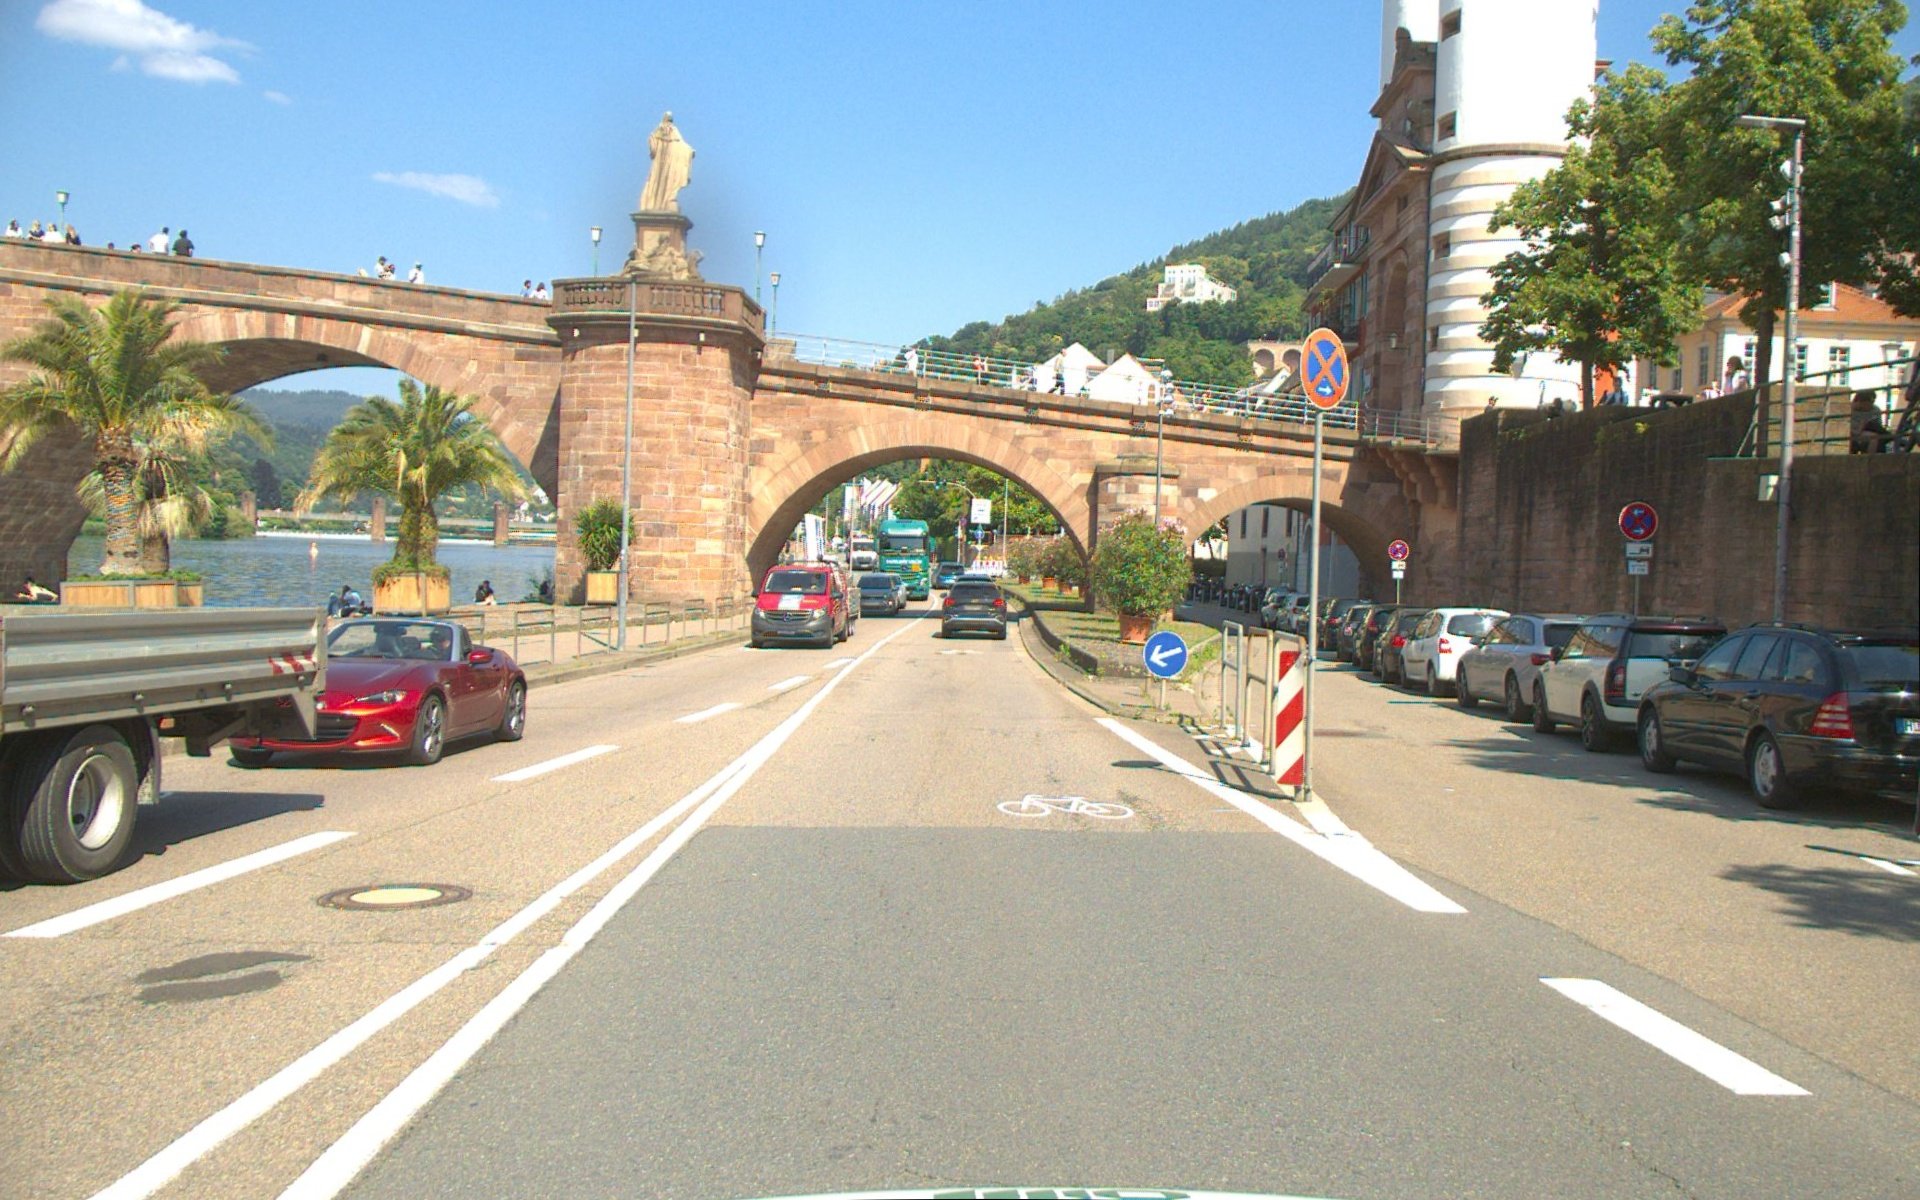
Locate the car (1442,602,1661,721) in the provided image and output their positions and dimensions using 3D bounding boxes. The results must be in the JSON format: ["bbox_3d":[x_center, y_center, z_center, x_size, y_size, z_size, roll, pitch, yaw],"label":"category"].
[{"bbox_3d":[8.457,0.806,24.082,1.717,1.457,4.759,2,1,4],"label":"car"}]

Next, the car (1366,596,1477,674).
[{"bbox_3d":[9.125,0.646,32.999,1.674,1.412,4.411,0,0,10],"label":"car"}]

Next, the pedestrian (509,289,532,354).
[{"bbox_3d":[-14.692,-9.313,55.276,0.611,2.049,0.694,1,1,-6],"label":"pedestrian"}]

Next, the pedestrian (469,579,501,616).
[{"bbox_3d":[-16.674,-0.081,58.091,0.711,1.262,1.146,1,1,5],"label":"pedestrian"}]

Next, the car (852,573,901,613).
[{"bbox_3d":[-3.099,-0.286,61.879,1.503,1.461,3.729,0,1,2],"label":"car"}]

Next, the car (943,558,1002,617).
[{"bbox_3d":[0.486,-0.467,59.795,1.952,2.049,4.002,1,1,3],"label":"car"}]

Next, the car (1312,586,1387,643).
[{"bbox_3d":[11.445,0.385,48.803,1.738,1.528,3.990,1,1,7],"label":"car"}]

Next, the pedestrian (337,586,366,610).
[{"bbox_3d":[-15.141,-0.045,41.166,0.453,0.574,0.515,-2,0,11],"label":"pedestrian"}]

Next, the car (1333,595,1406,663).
[{"bbox_3d":[10.466,0.702,42.462,1.557,1.547,3.907,2,1,11],"label":"car"}]

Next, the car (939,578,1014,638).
[{"bbox_3d":[0.492,0.178,45.440,1.818,1.550,4.002,1,1,4],"label":"car"}]

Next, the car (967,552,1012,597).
[{"bbox_3d":[1.340,-1.192,77.628,1.953,2.049,4.000,1,1,-1],"label":"car"}]

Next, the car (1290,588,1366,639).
[{"bbox_3d":[11.962,0.408,54.012,1.738,1.461,4.495,1,1,4],"label":"car"}]

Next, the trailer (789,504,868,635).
[{"bbox_3d":[-3.521,-0.826,44.711,1.705,3.378,3.385,0,1,3],"label":"trailer"}]

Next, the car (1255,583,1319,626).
[{"bbox_3d":[12.561,0.148,63.746,1.853,1.518,4.419,1,2,4],"label":"car"}]

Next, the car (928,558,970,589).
[{"bbox_3d":[-0.670,-1.521,95.994,1.956,1.691,3.994,2,1,-7],"label":"car"}]

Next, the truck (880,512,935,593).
[{"bbox_3d":[-2.497,-2.356,80.656,2.472,3.813,6.247,0,2,0],"label":"truck"}]

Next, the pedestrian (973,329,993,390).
[{"bbox_3d":[0.794,-8.385,57.732,0.670,2.049,0.586,1,1,1],"label":"pedestrian"}]

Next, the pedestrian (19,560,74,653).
[{"bbox_3d":[-16.399,0.114,29.705,0.665,1.629,0.594,1,1,-7],"label":"pedestrian"}]

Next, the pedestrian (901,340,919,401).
[{"bbox_3d":[-1.750,-8.007,57.670,0.569,2.049,0.586,1,1,1],"label":"pedestrian"}]

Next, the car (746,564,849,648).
[{"bbox_3d":[-3.793,0.090,39.391,1.835,1.859,4.546,0,1,2],"label":"car"}]

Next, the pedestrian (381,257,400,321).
[{"bbox_3d":[-19.173,-10.456,55.708,0.449,2.049,0.554,1,1,-6],"label":"pedestrian"}]

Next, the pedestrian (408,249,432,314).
[{"bbox_3d":[-18.086,-10.653,55.376,0.611,2.049,0.694,1,1,-6],"label":"pedestrian"}]

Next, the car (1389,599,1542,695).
[{"bbox_3d":[8.736,0.773,28.858,1.675,1.483,3.549,2,1,2],"label":"car"}]

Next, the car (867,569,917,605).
[{"bbox_3d":[-2.847,-0.550,70.300,1.687,1.462,4.402,0,1,3],"label":"car"}]

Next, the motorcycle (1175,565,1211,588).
[{"bbox_3d":[13.033,-1.303,92.525,2.174,1.289,0.620,0,2,-37],"label":"motorcycle"}]

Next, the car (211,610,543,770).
[{"bbox_3d":[-5.139,0.733,15.086,1.636,1.215,3.630,0,1,2],"label":"car"}]

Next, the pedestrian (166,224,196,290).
[{"bbox_3d":[-25.799,-11.372,54.795,0.679,2.049,0.625,1,1,-2],"label":"pedestrian"}]

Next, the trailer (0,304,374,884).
[{"bbox_3d":[-5.545,-0.026,7.795,2.640,2.575,6.951,0,0,4],"label":"trailer"}]

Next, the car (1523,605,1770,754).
[{"bbox_3d":[7.746,0.823,19.031,1.578,1.438,3.906,2,1,7],"label":"car"}]

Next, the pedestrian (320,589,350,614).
[{"bbox_3d":[-15.076,0.039,39.886,0.453,0.574,0.515,-2,0,11],"label":"pedestrian"}]

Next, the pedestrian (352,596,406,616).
[{"bbox_3d":[-14.104,0.135,40.176,0.631,0.429,1.743,0,1,2],"label":"pedestrian"}]

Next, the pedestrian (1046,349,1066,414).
[{"bbox_3d":[3.176,-7.198,54.602,0.610,2.049,0.695,1,1,2],"label":"pedestrian"}]

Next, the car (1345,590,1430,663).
[{"bbox_3d":[9.712,0.567,37.736,1.463,1.510,3.719,2,1,8],"label":"car"}]

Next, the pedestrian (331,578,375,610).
[{"bbox_3d":[-15.206,-0.152,41.429,0.770,0.755,0.711,2,1,11],"label":"pedestrian"}]

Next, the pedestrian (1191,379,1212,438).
[{"bbox_3d":[8.713,-6.905,59.769,0.670,2.049,0.586,1,1,1],"label":"pedestrian"}]

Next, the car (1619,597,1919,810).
[{"bbox_3d":[7.322,0.764,14.198,1.804,1.475,4.537,2,1,5],"label":"car"}]
